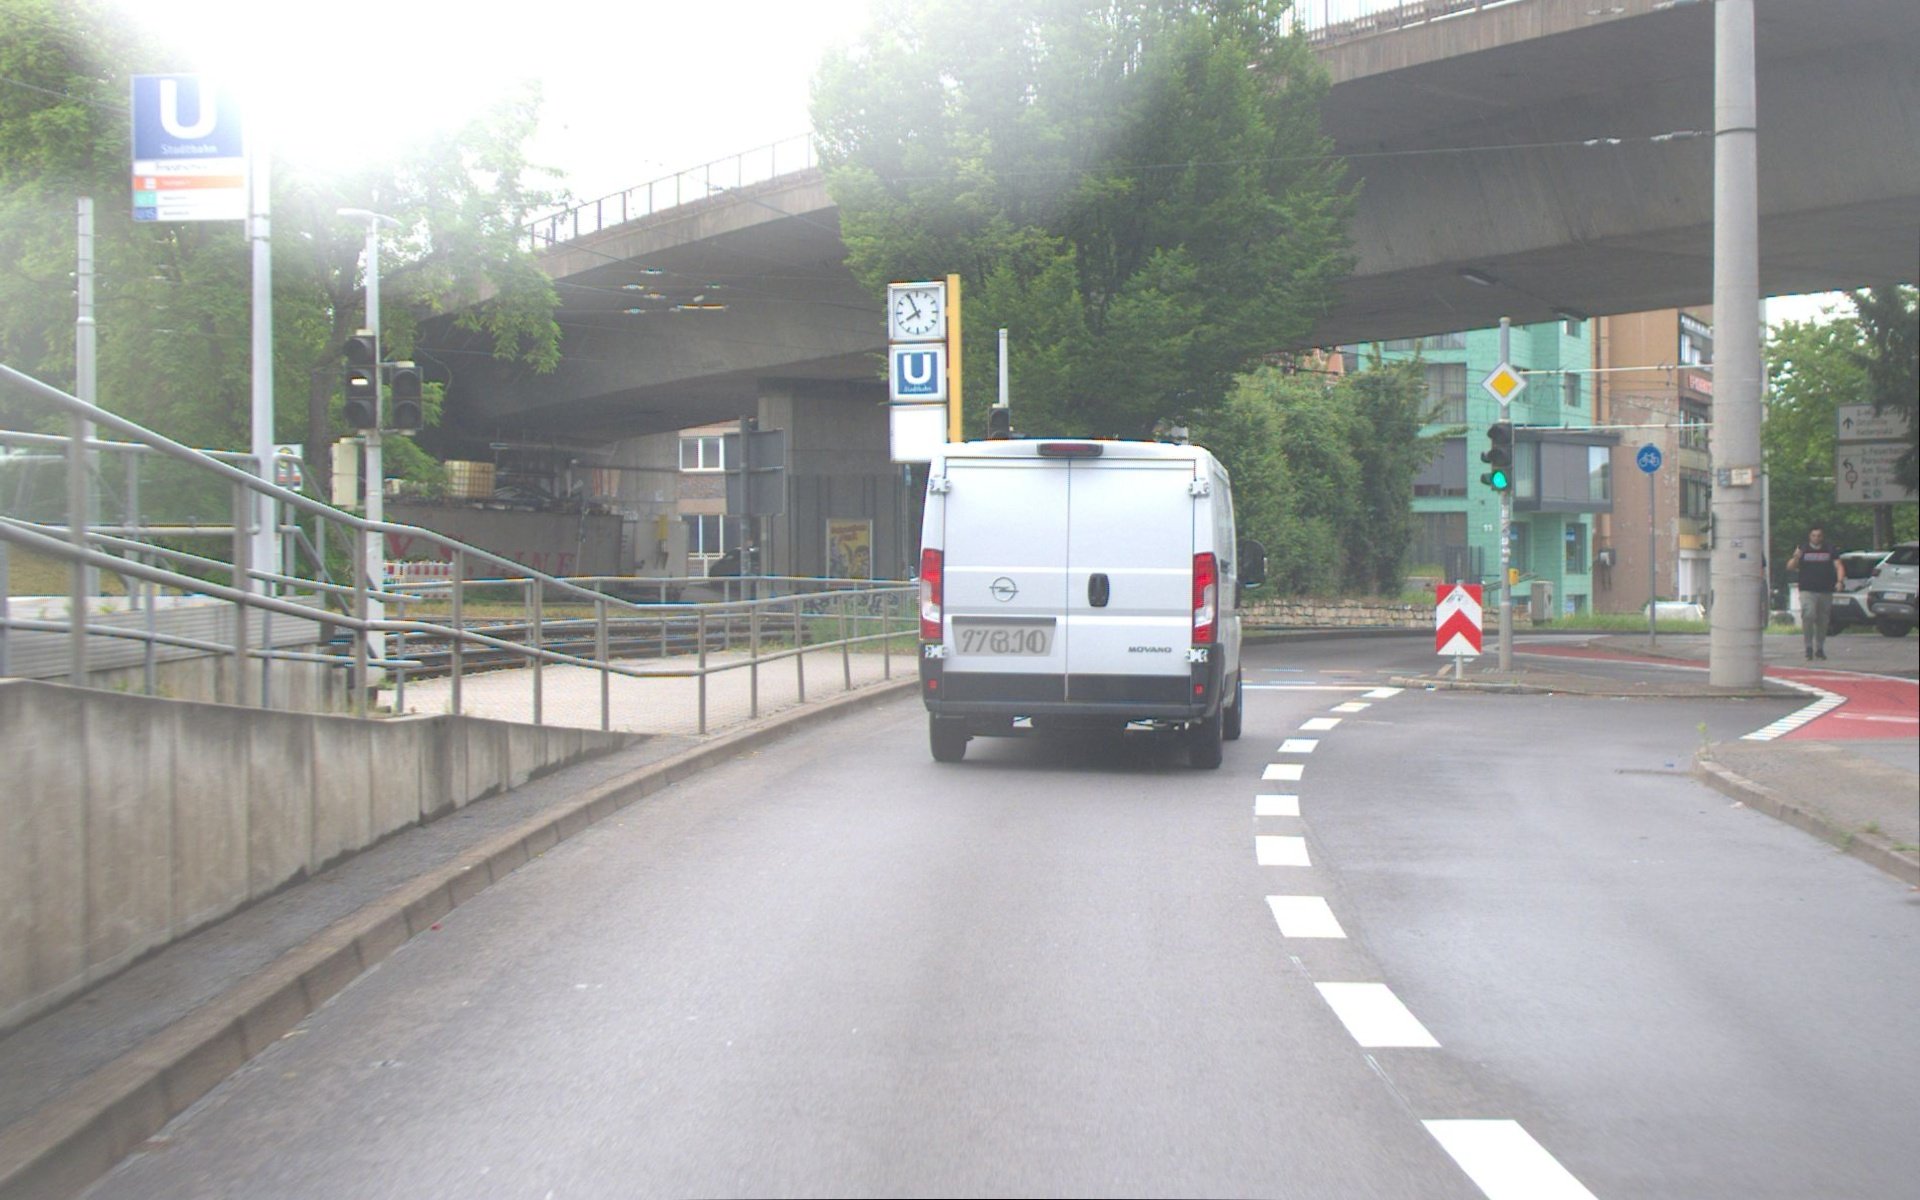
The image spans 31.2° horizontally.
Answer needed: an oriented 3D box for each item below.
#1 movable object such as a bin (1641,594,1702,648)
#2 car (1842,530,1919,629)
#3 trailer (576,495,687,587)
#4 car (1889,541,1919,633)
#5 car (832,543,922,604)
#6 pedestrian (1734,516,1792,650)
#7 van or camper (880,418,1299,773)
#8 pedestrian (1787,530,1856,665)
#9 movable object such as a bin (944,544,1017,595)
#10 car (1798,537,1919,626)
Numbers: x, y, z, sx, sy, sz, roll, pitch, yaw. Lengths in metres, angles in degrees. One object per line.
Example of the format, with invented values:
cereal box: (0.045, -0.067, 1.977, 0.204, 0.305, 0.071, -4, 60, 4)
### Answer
movable object such as a bin: (30.070, 0.878, 145.336, 2.136, 2.149, 1.800, 3, 1, 23)
car: (17.009, -0.320, 57.708, 4.010, 1.625, 1.967, 1, 0, -30)
trailer: (-10.104, -1.803, 105.647, 1.993, 2.716, 4.124, 2, 0, -26)
car: (16.922, -0.167, 54.693, 4.036, 1.434, 1.787, 1, 1, -30)
car: (-2.559, -0.834, 105.169, 1.713, 1.662, 3.199, 3, 2, -21)
pedestrian: (11.060, -0.230, 47.359, 0.626, 1.802, 0.835, 3, 0, 8)
van or camper: (1.067, -0.022, 24.997, 2.200, 2.245, 4.681, 3, 0, 12)
pedestrian: (11.821, -0.037, 47.204, 0.597, 1.816, 0.910, 3, 0, -4)
movable object such as a bin: (0.628, -0.926, 104.277, 1.556, 1.474, 1.803, 2, 2, -24)
car: (16.763, -0.309, 60.372, 3.723, 1.517, 1.803, 1, 0, -30)
